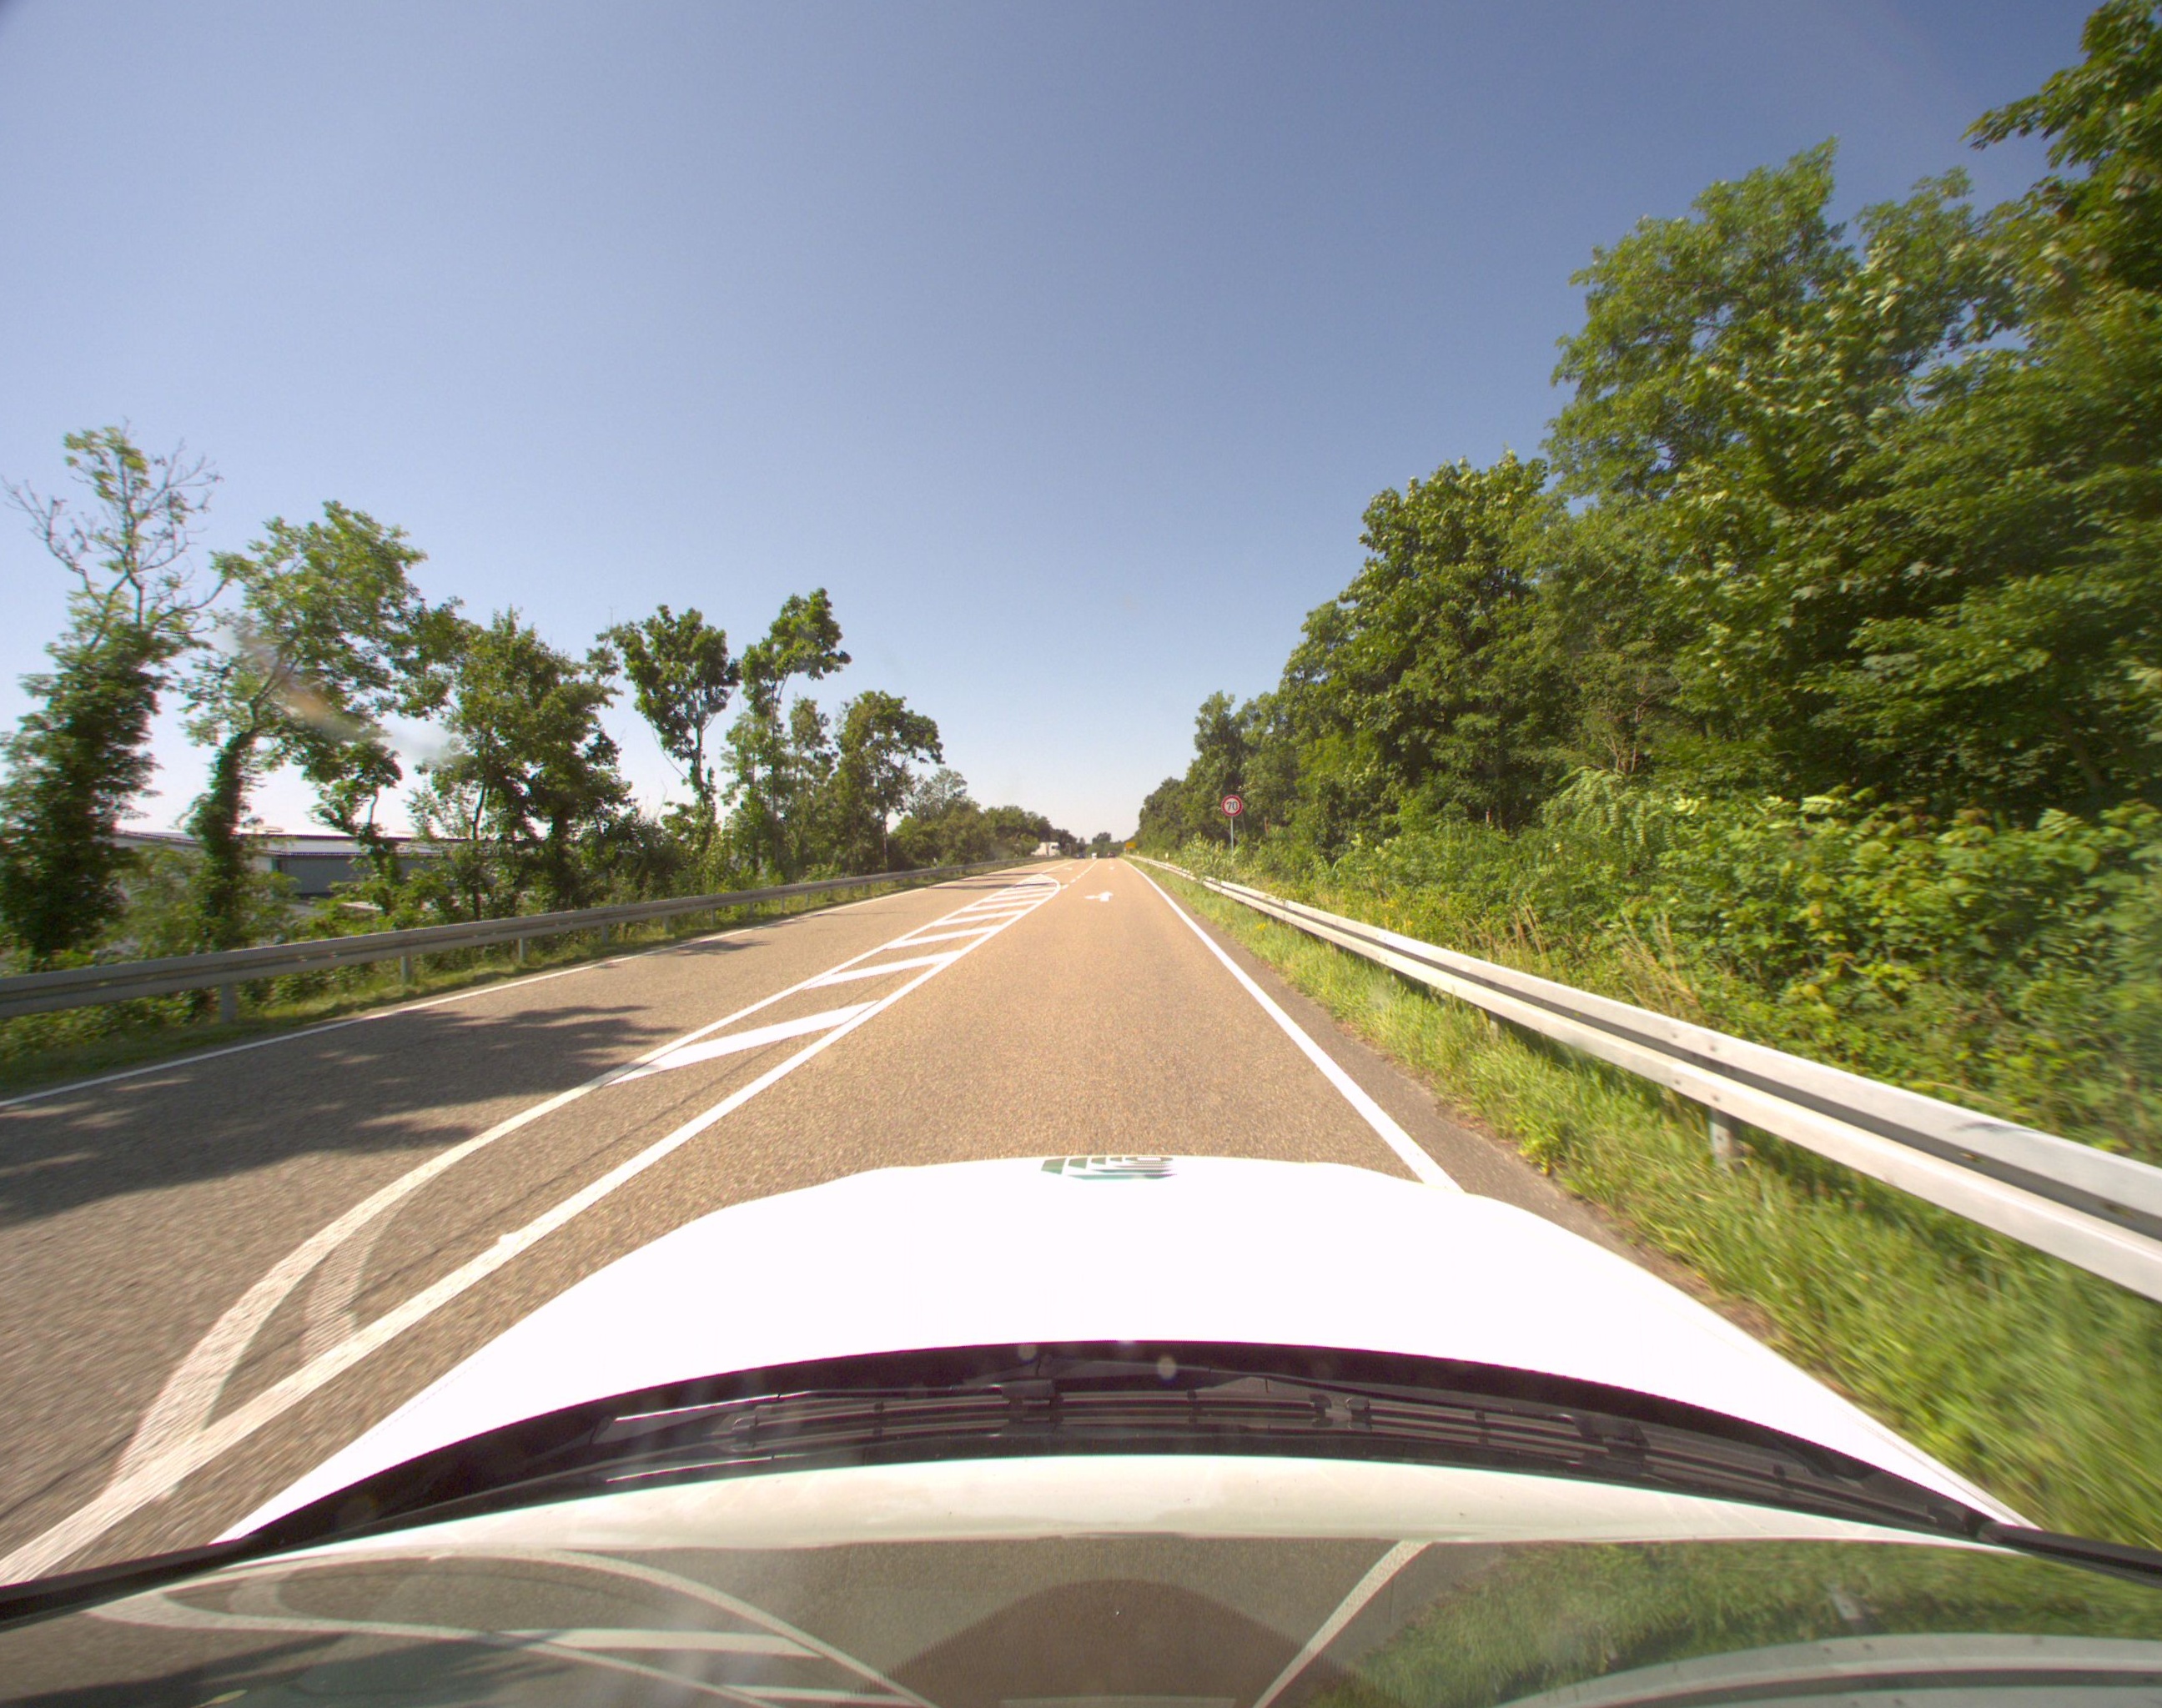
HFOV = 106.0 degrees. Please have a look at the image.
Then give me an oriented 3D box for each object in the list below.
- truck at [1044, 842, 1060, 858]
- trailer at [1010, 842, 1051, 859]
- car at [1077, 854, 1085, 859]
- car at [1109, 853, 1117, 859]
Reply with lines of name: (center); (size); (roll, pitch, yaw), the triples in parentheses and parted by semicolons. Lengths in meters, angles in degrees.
truck: (-6.624, -0.874, 187.661); (3.450, 3.537, 2.002); (-1, 0, 3)
trailer: (-11.616, -0.770, 187.941); (9.063, 3.578, 2.002); (-1, 0, 3)
car: (-0.082, 0.573, 194.138); (1.724, 1.267, 3.907); (-1, 0, 2)
car: (7.366, 0.495, 189.157); (1.734, 1.470, 3.694); (-1, 0, 2)
